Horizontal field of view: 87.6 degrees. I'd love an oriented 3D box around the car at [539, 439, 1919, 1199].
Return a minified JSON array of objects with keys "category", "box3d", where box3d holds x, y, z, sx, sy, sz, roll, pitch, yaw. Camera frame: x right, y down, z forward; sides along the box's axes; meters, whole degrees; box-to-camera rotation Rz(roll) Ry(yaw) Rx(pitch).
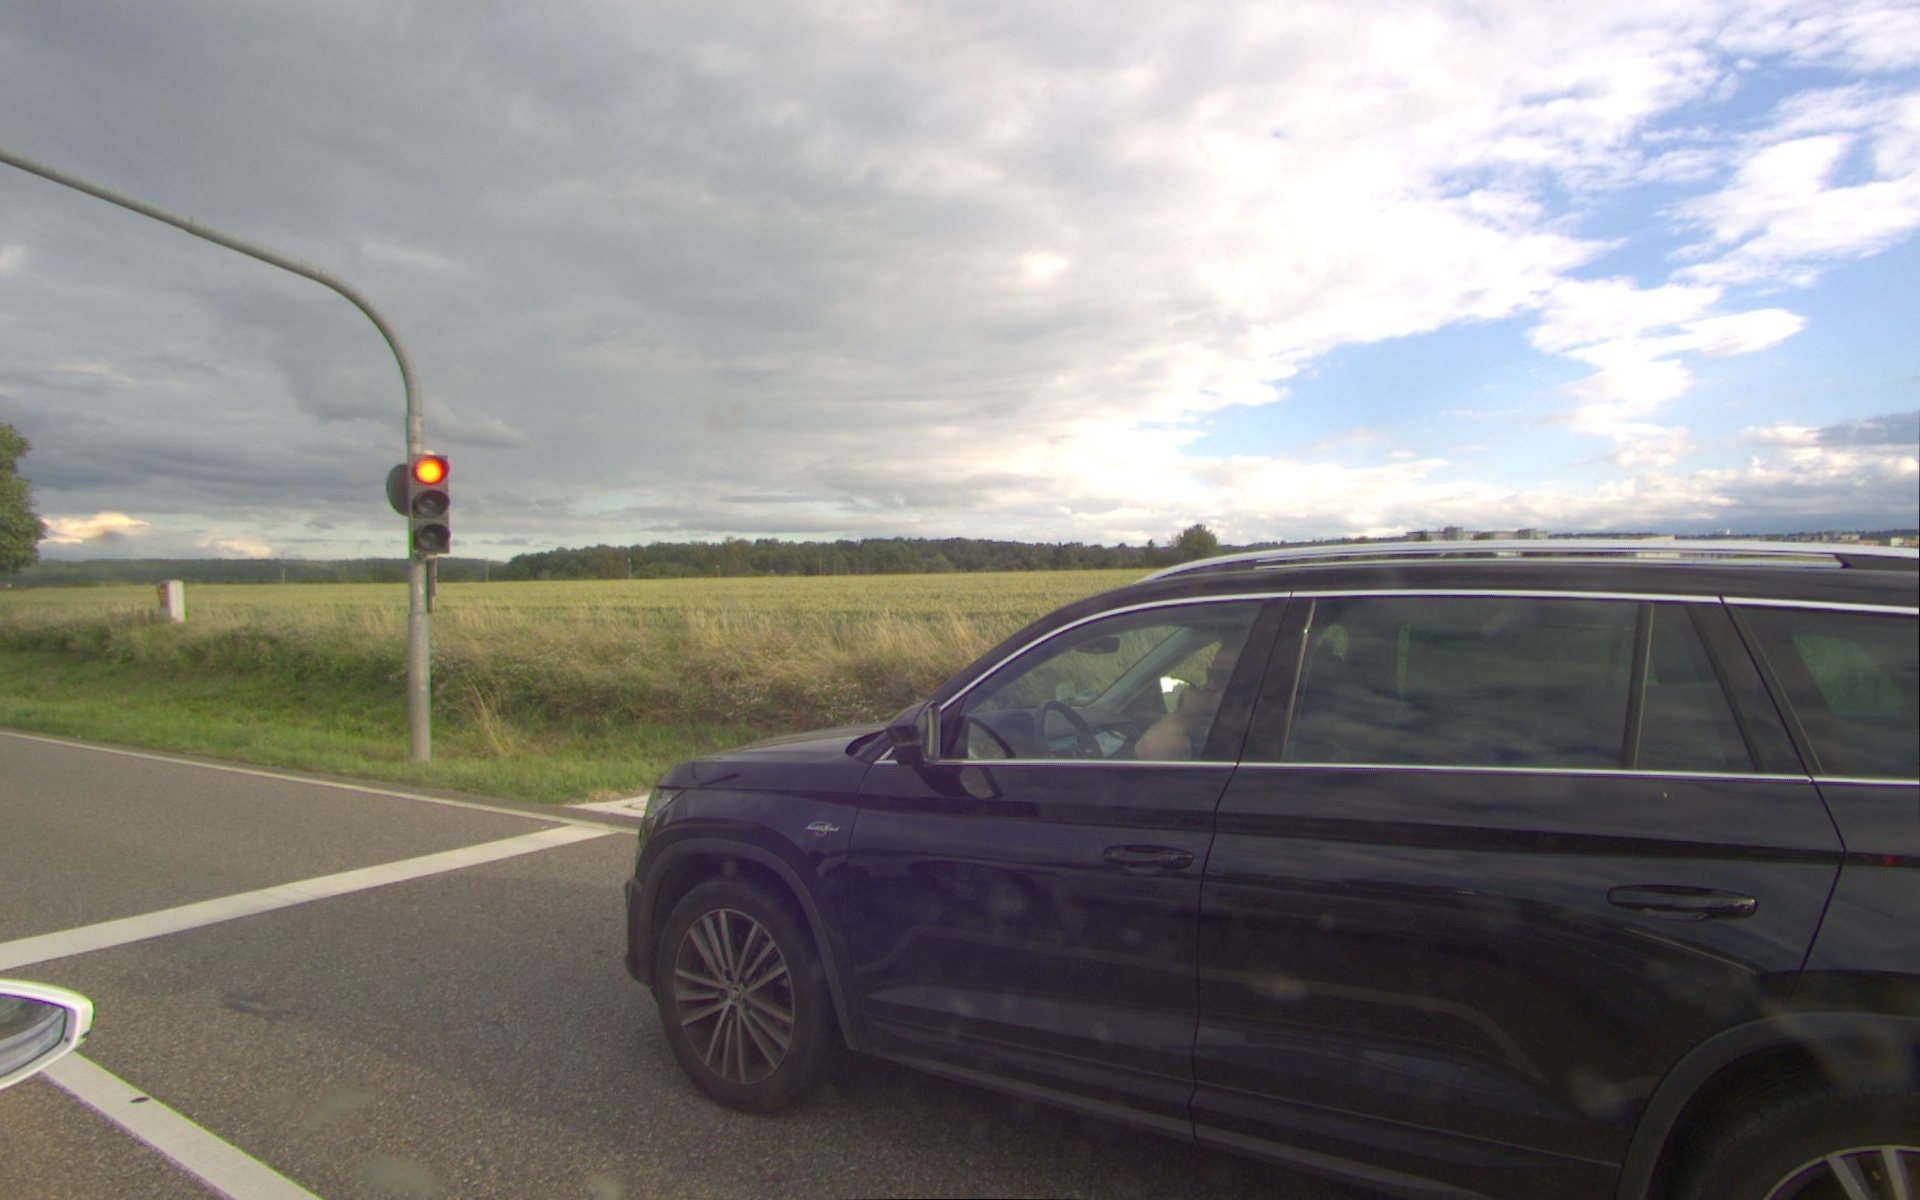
[{"category":"car","box3d":[0.906,0.668,3.072,4.492,1.730,1.833,-1,-2,32]}]
